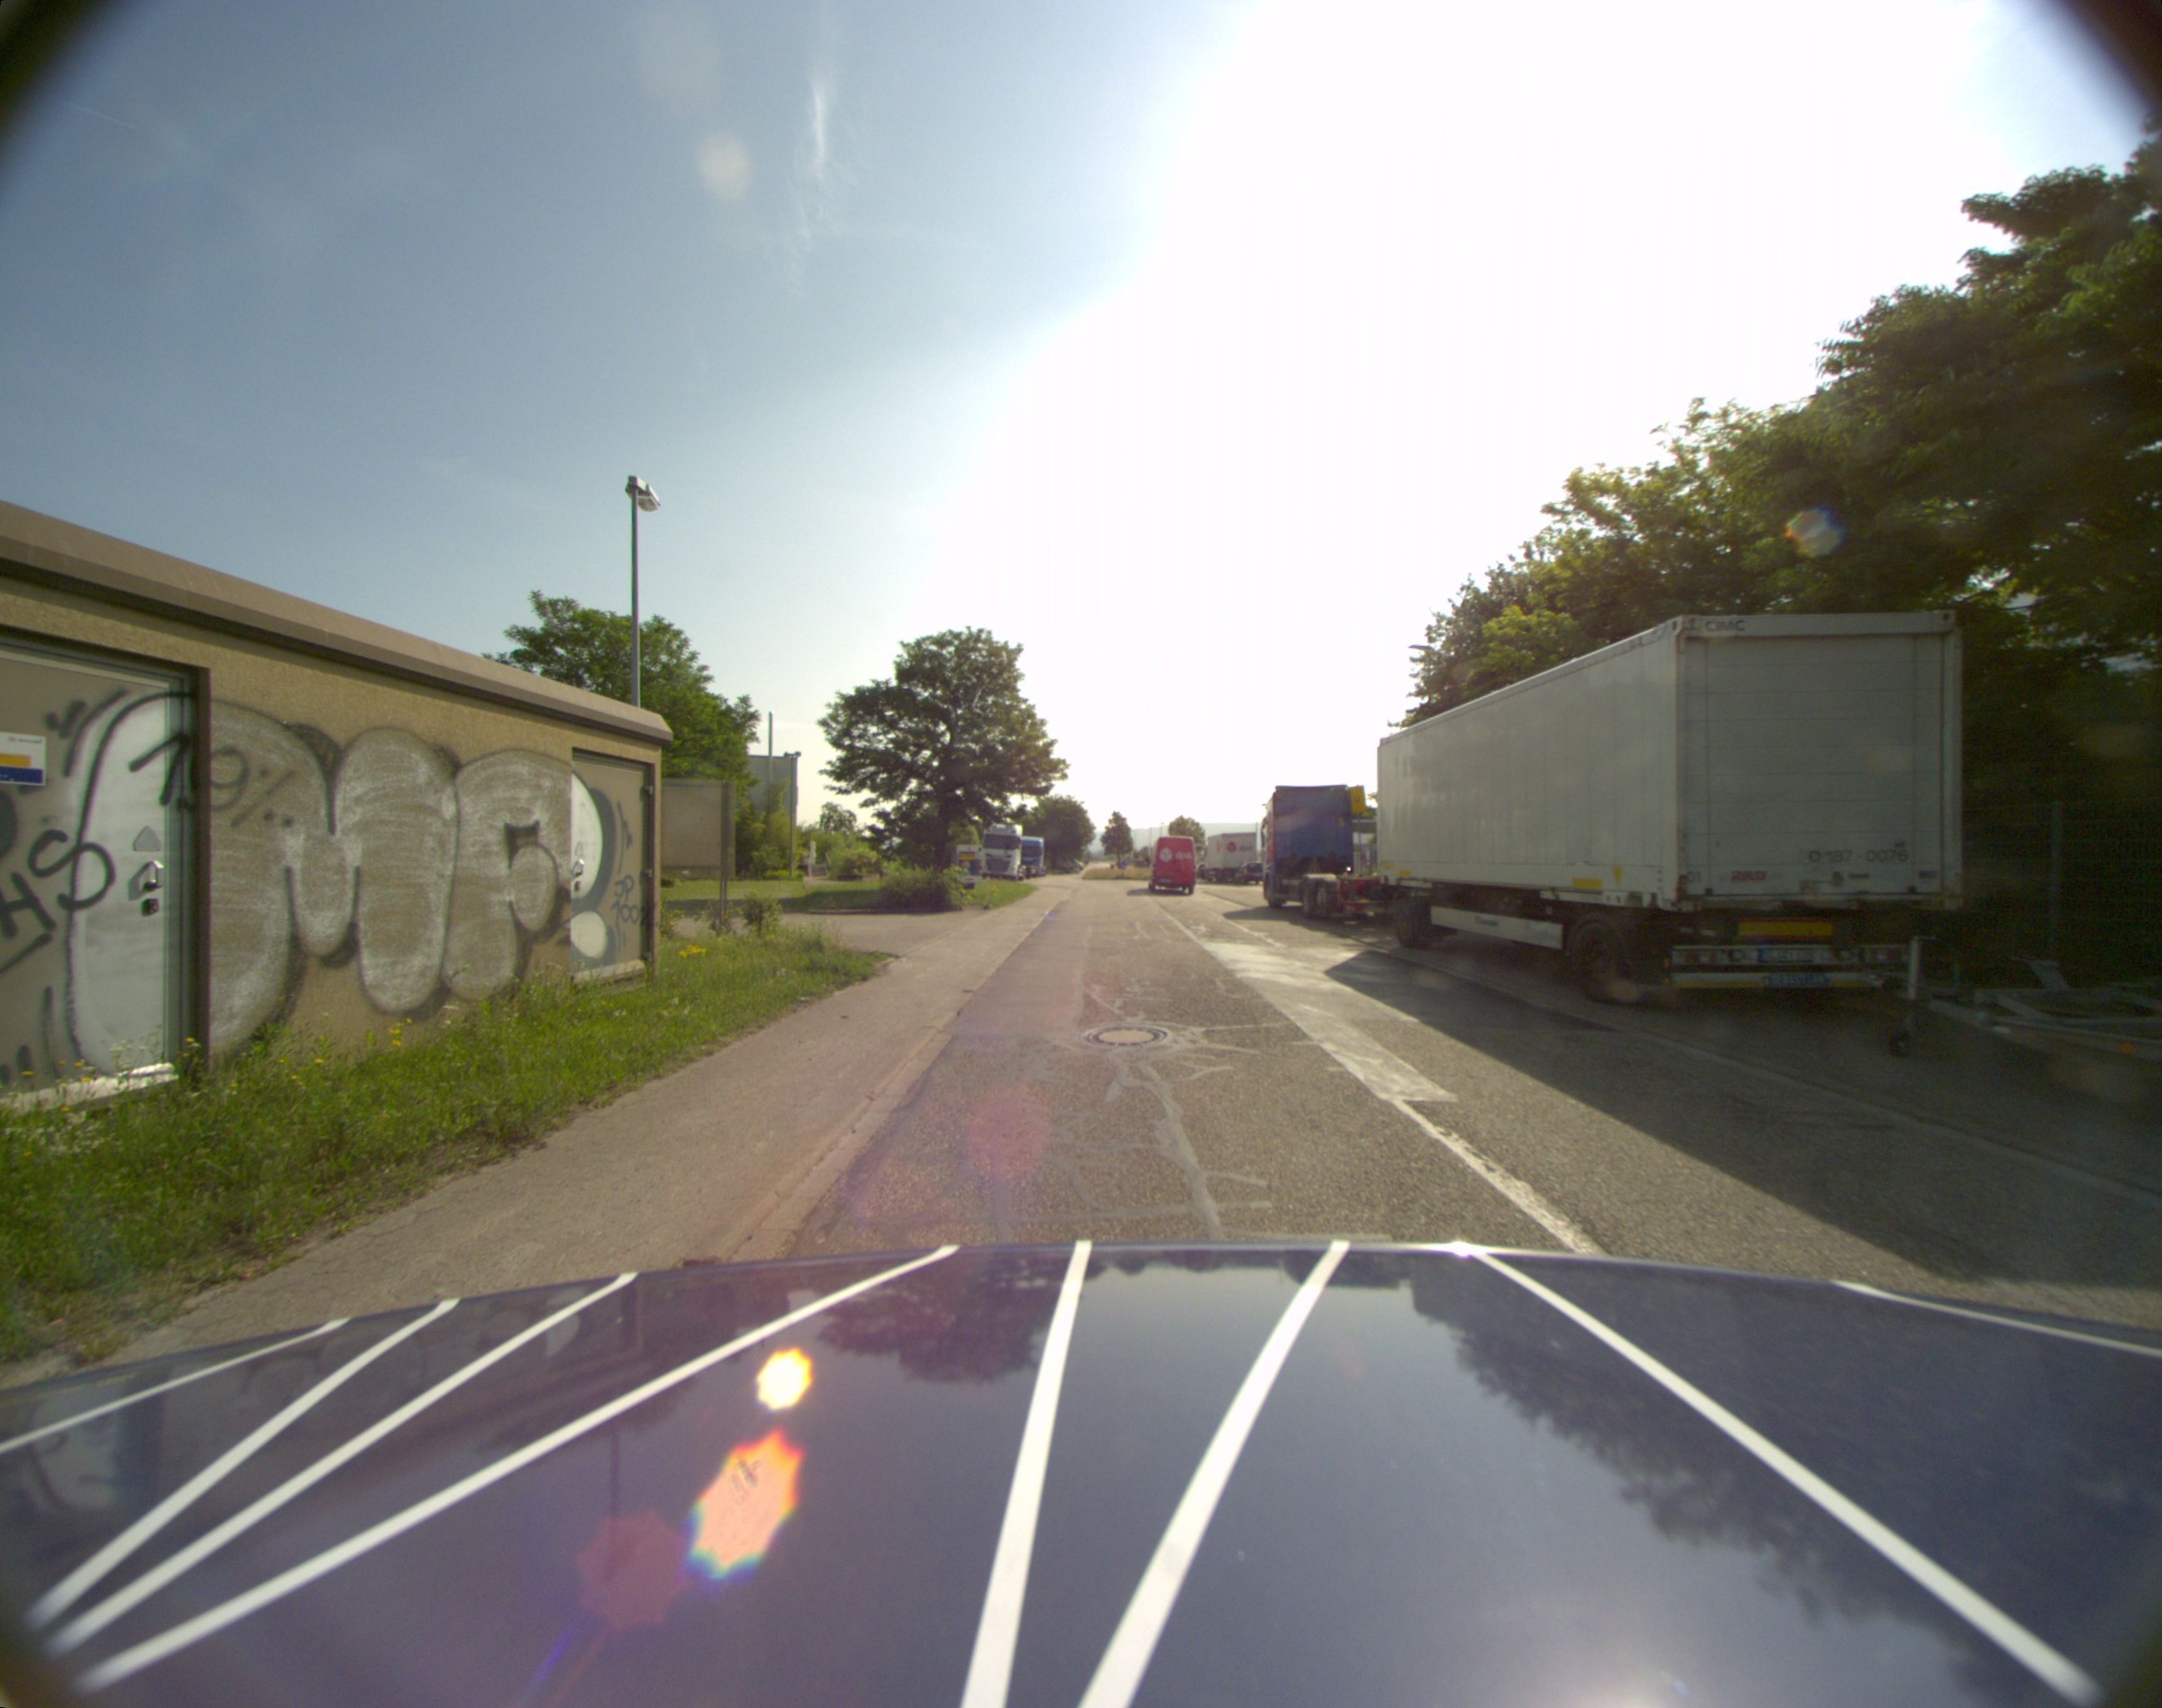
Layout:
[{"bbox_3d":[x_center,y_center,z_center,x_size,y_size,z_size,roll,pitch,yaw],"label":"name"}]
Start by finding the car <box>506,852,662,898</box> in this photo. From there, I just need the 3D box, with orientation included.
[{"bbox_3d":[-16.554,0.702,25.545,4.045,1.455,1.797,1,0,-19],"label":"car"}]

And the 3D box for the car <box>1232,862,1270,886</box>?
[{"bbox_3d":[12.013,1.359,53.987,1.767,1.583,4.193,-1,0,0],"label":"car"}]

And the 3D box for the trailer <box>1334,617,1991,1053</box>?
[{"bbox_3d":[6.815,-0.170,11.657,2.706,3.861,9.765,-1,0,1],"label":"trailer"}]

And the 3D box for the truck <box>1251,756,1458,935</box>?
[{"bbox_3d":[7.023,-0.192,21.312,2.719,3.861,9.637,-1,0,3],"label":"truck"}]

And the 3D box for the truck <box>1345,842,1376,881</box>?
[{"bbox_3d":[31.760,0.811,86.434,3.034,4.112,9.253,1,0,20],"label":"truck"}]

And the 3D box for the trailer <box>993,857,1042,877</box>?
[{"bbox_3d":[-4.991,0.980,62.391,2.552,1.383,14.137,1,0,1],"label":"trailer"}]

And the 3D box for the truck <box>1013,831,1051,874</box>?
[{"bbox_3d":[-4.835,-0.113,76.831,3.043,3.916,10.578,1,0,0],"label":"truck"}]

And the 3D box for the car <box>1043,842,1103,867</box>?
[{"bbox_3d":[-1.167,0.065,105.642,8.150,3.217,2.663,-1,0,-4],"label":"car"}]

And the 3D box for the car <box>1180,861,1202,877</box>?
[{"bbox_3d":[11.190,1.537,77.455,1.735,1.573,3.967,-1,0,1],"label":"car"}]

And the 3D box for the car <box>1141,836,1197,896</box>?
[{"bbox_3d":[4.113,0.526,36.621,1.998,2.532,6.990,2,0,2],"label":"car"}]

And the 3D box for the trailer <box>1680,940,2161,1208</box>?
[{"bbox_3d":[6.681,1.291,3.690,2.655,0.979,6.243,1,0,1],"label":"trailer"}]

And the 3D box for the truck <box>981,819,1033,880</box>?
[{"bbox_3d":[-5.142,-0.301,54.525,2.559,3.958,8.581,3,0,1],"label":"truck"}]

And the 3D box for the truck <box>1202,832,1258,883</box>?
[{"bbox_3d":[12.103,0.241,62.641,2.783,3.831,10.063,1,0,1],"label":"truck"}]
